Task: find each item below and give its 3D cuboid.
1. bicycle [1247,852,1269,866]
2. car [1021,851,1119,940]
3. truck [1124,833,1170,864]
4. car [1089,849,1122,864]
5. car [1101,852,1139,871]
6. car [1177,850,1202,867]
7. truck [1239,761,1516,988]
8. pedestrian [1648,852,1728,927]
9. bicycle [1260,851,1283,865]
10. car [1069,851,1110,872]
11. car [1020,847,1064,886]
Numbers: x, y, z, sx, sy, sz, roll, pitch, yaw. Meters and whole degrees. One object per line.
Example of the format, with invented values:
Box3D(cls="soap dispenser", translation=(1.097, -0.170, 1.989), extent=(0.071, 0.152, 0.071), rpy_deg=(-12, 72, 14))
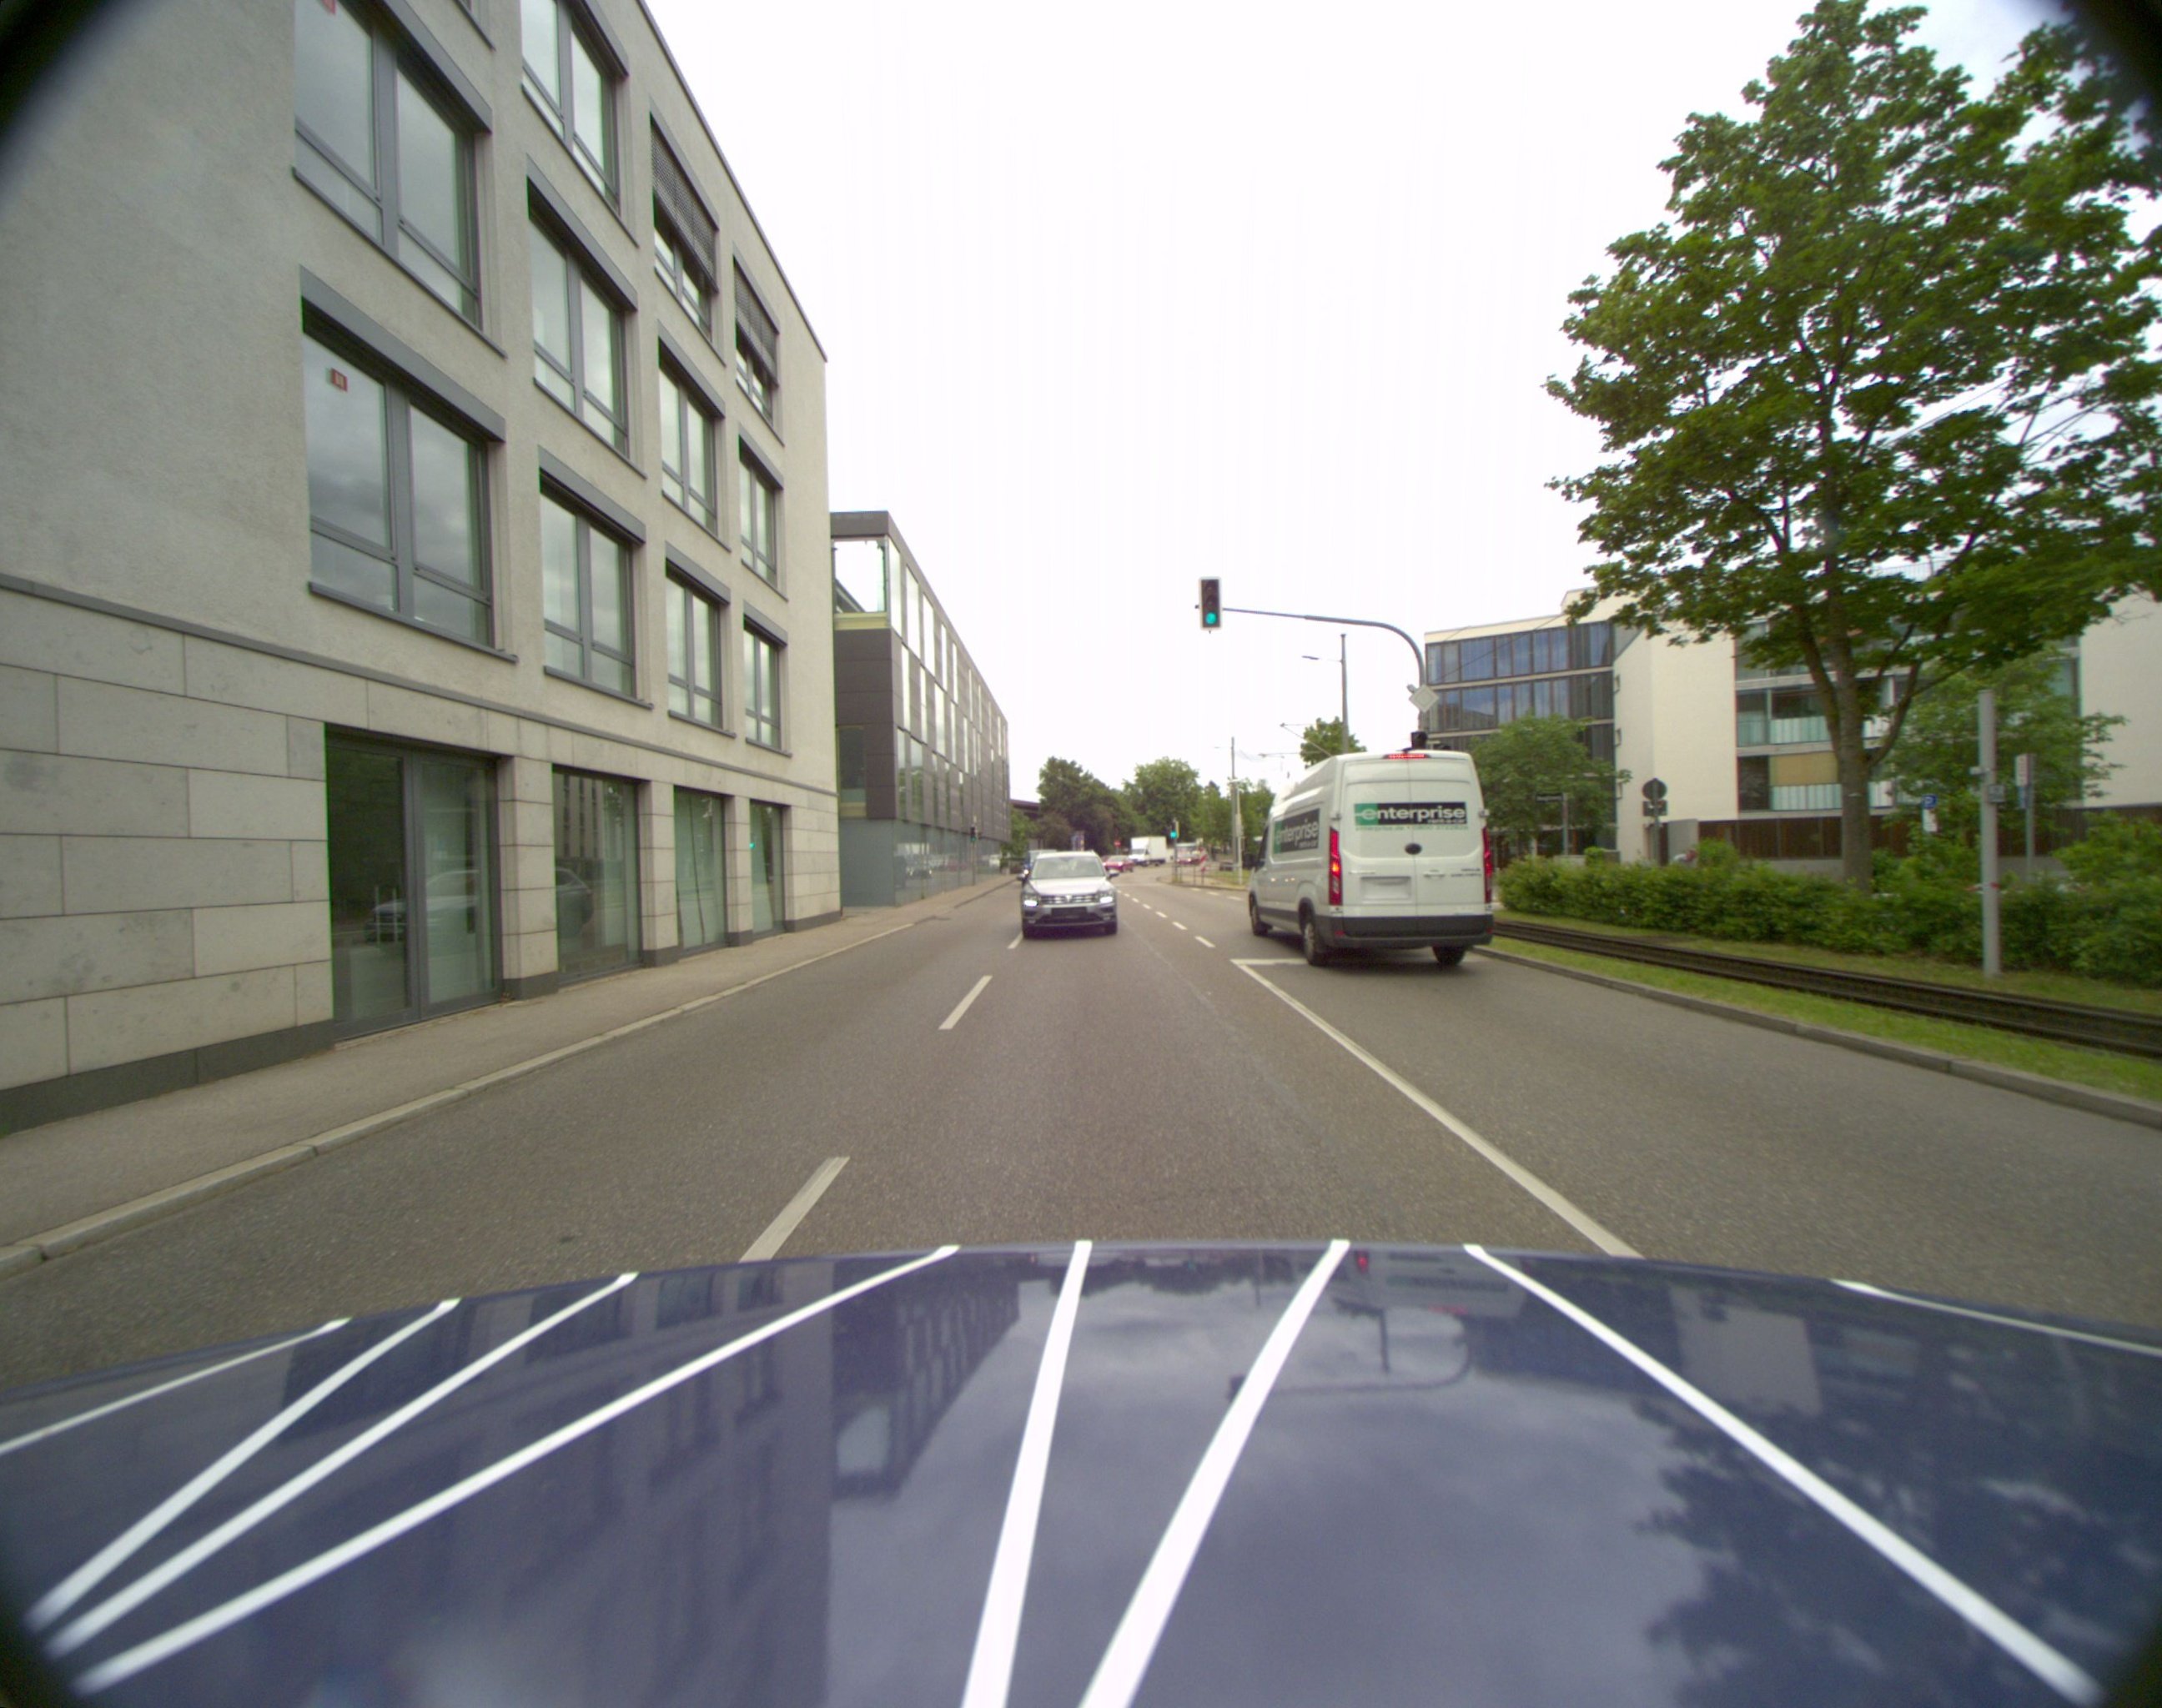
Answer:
Box3D(cls="bicycle", translation=(14.280, 0.391, 61.261), extent=(1.707, 1.082, 0.408), rpy_deg=(-3, 0, 13))
Box3D(cls="car", translation=(-0.187, 0.786, 16.554), extent=(1.811, 1.637, 4.330), rpy_deg=(-2, 0, 0))
Box3D(cls="truck", translation=(7.731, -0.682, 87.785), extent=(2.537, 3.406, 7.788), rpy_deg=(-1, 1, 26))
Box3D(cls="car", translation=(2.940, 0.302, 91.233), extent=(3.895, 1.475, 1.683), rpy_deg=(-4, 0, 1))
Box3D(cls="car", translation=(3.351, 0.645, 65.005), extent=(1.846, 1.525, 4.007), rpy_deg=(1, 0, 25))
Box3D(cls="car", translation=(12.411, 0.493, 86.747), extent=(1.847, 1.850, 4.264), rpy_deg=(-1, 0, 22))
Box3D(cls="truck", translation=(4.059, 0.233, 11.757), extent=(2.170, 2.600, 5.796), rpy_deg=(-1, 0, 2))
Box3D(cls="pedestrian", translation=(12.597, 0.713, 15.804), extent=(0.850, 1.518, 0.995), rpy_deg=(0, 1, -1))
Box3D(cls="bicycle", translation=(15.788, 0.342, 63.086), extent=(1.750, 1.040, 0.409), rpy_deg=(-3, 0, 27))
Box3D(cls="car", translation=(0.675, 0.570, 58.899), extent=(1.847, 1.525, 4.006), rpy_deg=(-1, 0, 21))
Box3D(cls="car", translation=(-1.971, 0.610, 39.470), extent=(1.849, 1.850, 4.000), rpy_deg=(-1, 0, 2))
